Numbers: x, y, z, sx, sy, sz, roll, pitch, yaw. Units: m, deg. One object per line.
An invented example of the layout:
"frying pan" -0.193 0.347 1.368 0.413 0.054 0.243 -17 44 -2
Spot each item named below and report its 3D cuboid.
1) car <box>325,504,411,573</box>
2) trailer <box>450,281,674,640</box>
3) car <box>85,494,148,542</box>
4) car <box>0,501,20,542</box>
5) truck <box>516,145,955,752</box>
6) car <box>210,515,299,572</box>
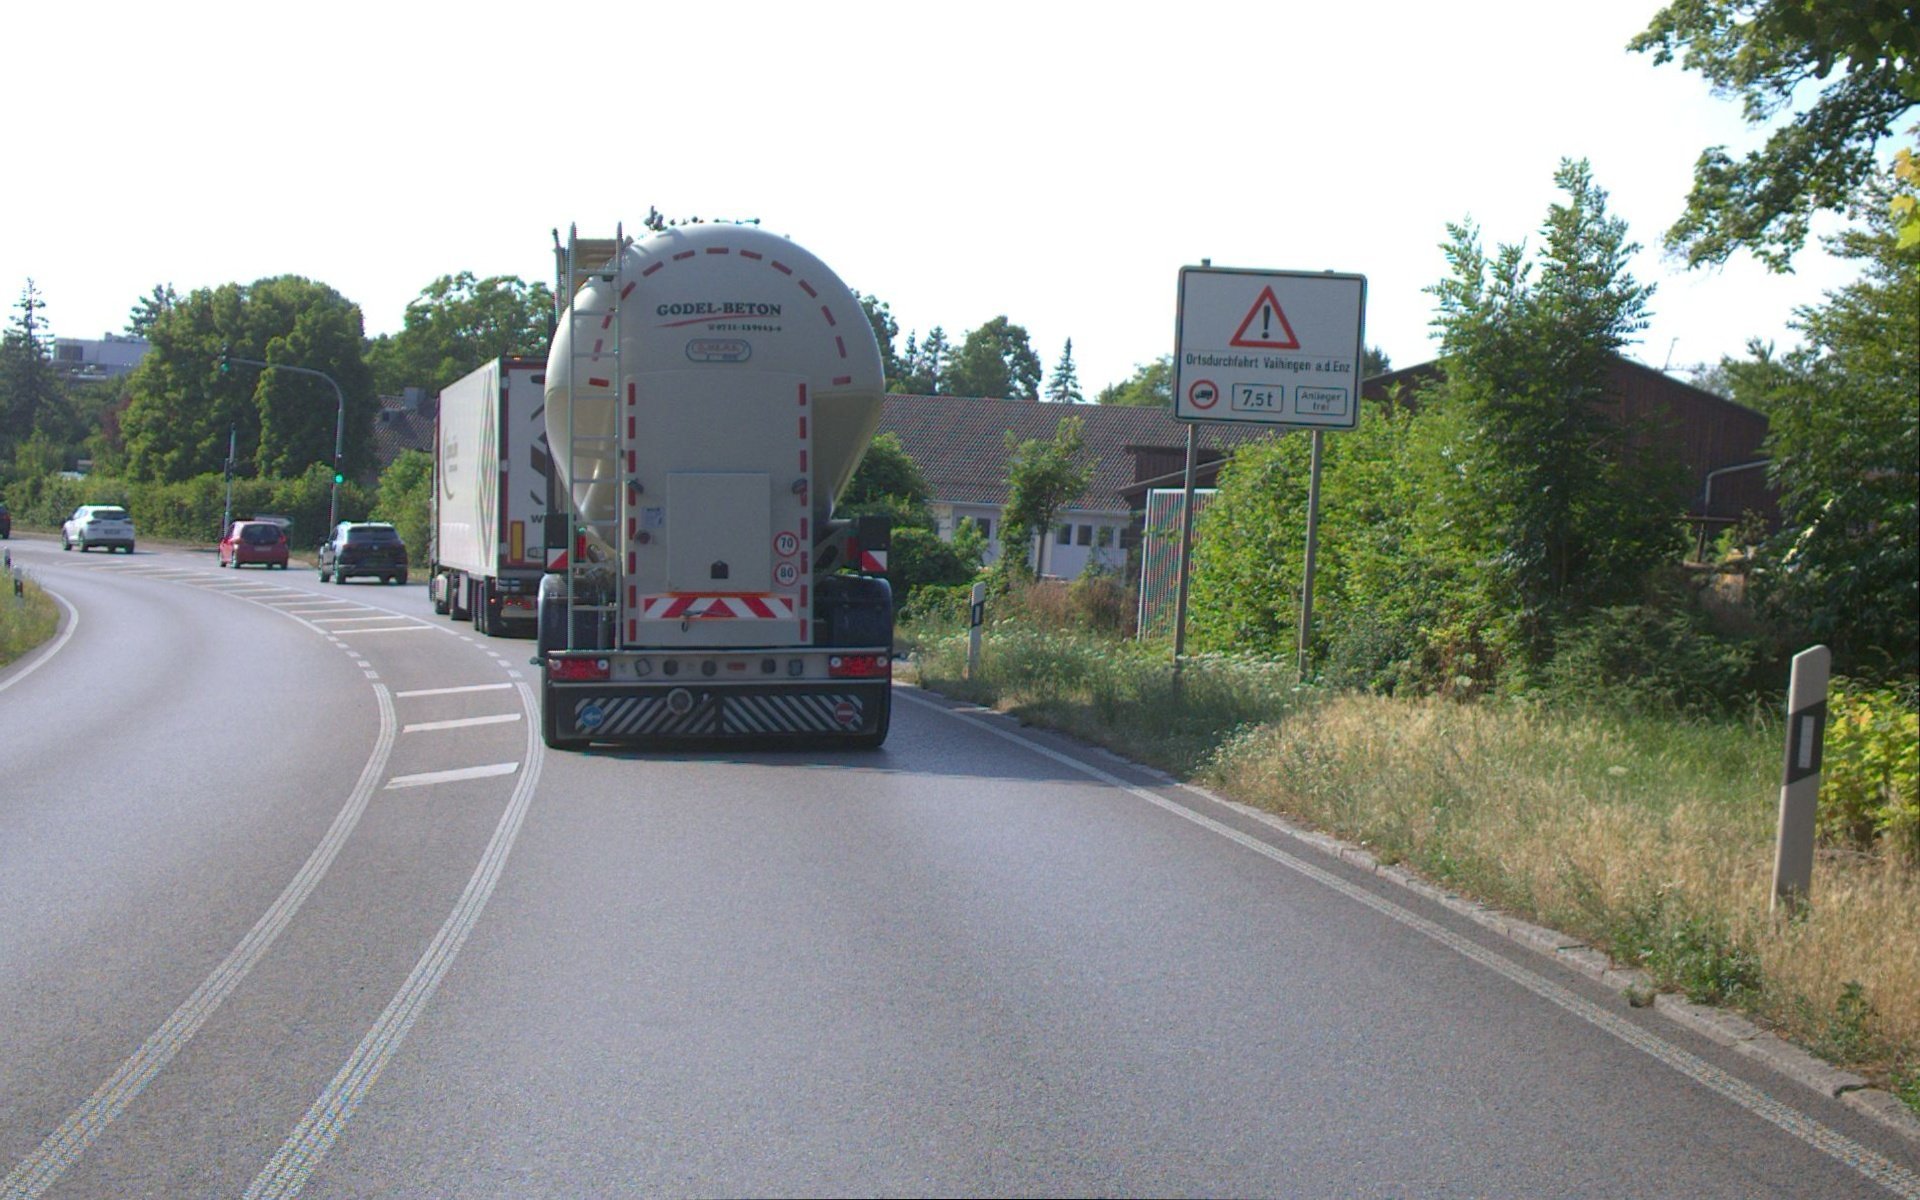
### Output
"car" -14.988 -1.536 86.847 1.993 1.650 4.001 1 0 -11
"trailer" -5.985 -1.953 52.237 2.963 4.865 10.290 1 0 -6
"car" -30.413 -2.950 123.874 1.840 1.650 4.001 1 0 -18
"car" -39.772 -3.207 141.016 1.519 1.650 3.873 1 0 -28
"truck" -2.160 -1.097 29.720 2.975 4.161 11.665 1 0 -6
"car" -21.462 -1.709 104.472 2.299 1.650 4.416 1 0 -16
